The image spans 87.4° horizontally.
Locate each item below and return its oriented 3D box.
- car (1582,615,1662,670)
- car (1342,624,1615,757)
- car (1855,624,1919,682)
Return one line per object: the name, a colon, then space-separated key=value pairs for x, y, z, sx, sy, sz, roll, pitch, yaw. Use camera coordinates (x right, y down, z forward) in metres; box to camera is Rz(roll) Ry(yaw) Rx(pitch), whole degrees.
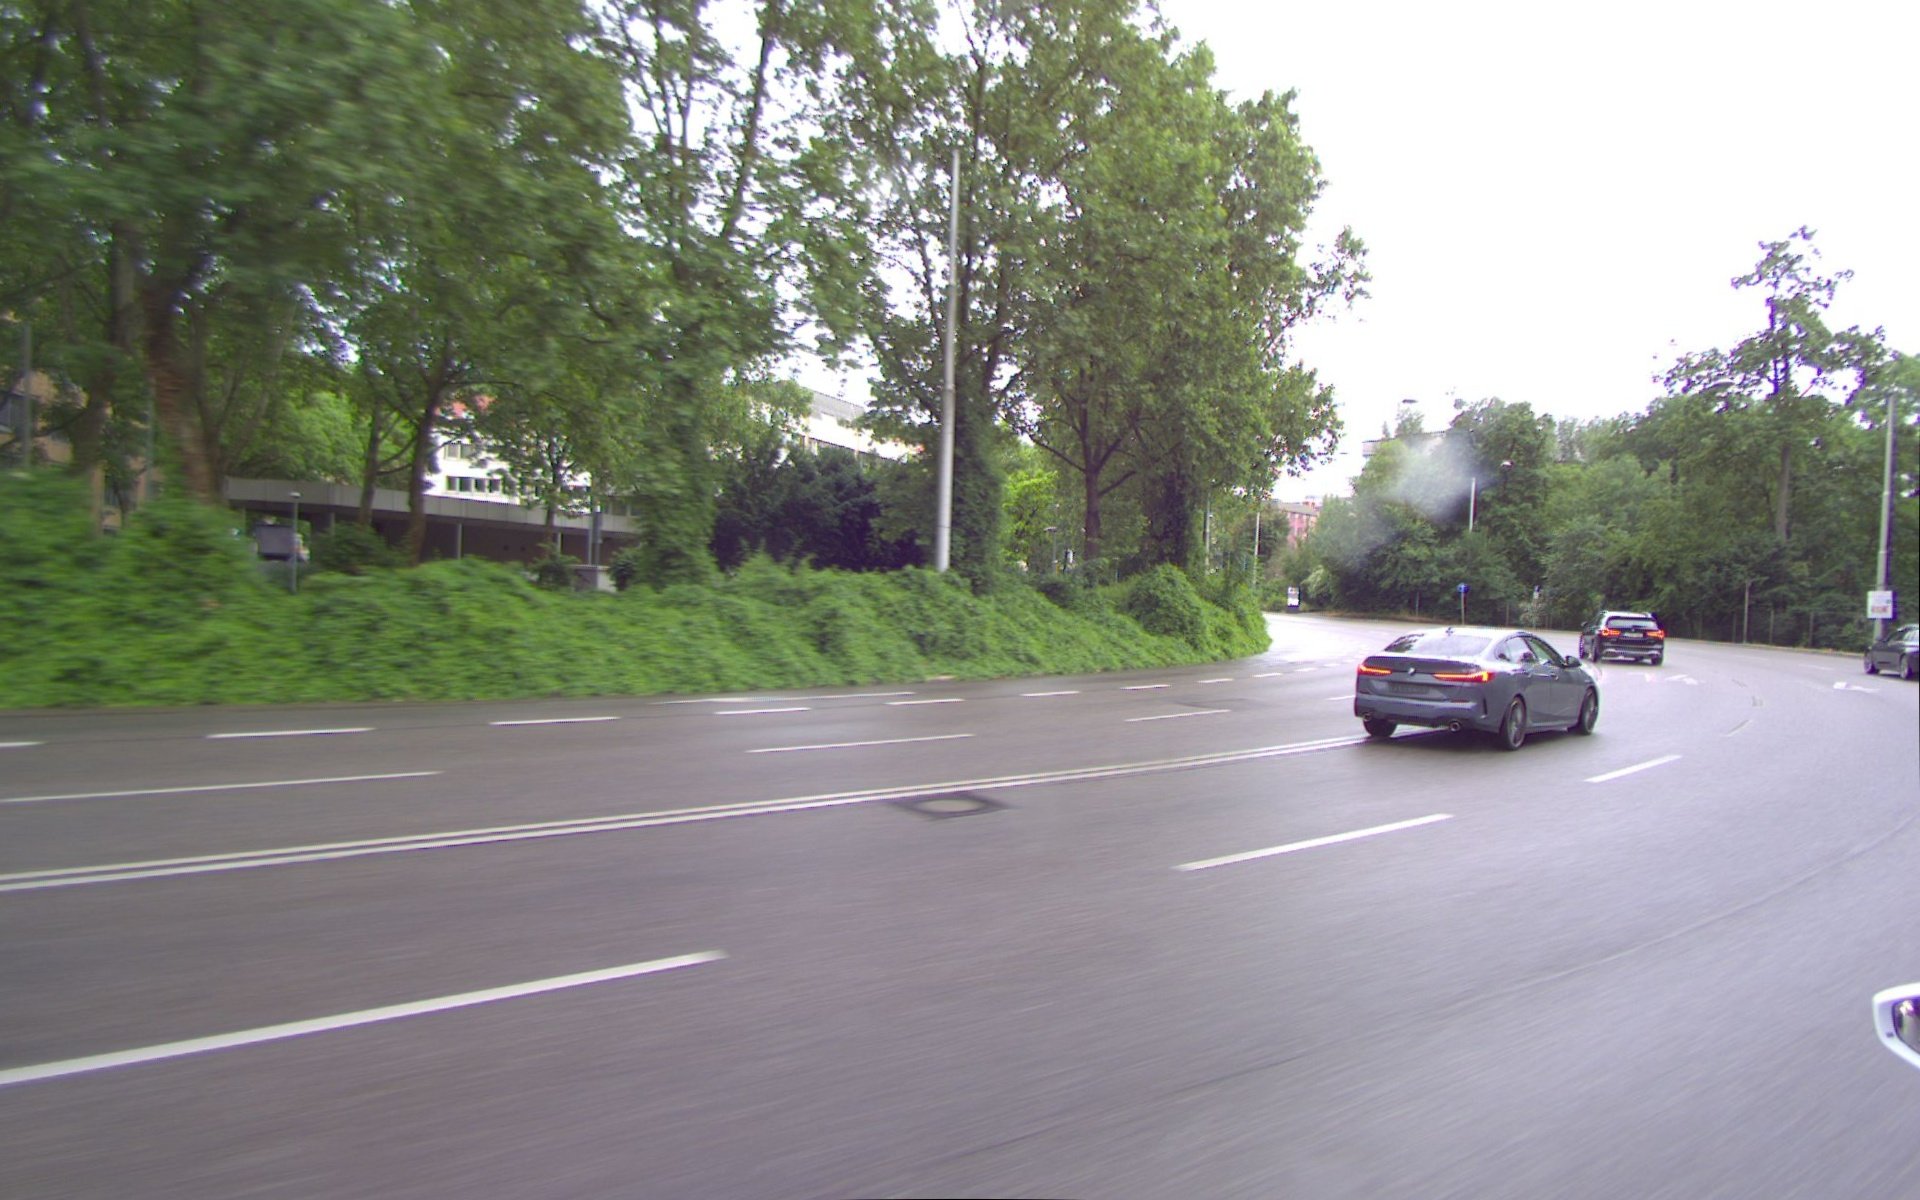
car: x=21.630 y=1.320 z=32.970 sx=1.731 sy=1.607 sz=4.406 roll=1 pitch=0 yaw=27
car: x=6.930 y=1.063 z=13.196 sx=4.504 sy=1.434 sz=1.651 roll=2 pitch=-1 yaw=-41
car: x=25.795 y=1.392 z=26.901 sx=1.731 sy=1.451 sz=4.406 roll=0 pitch=-2 yaw=28
